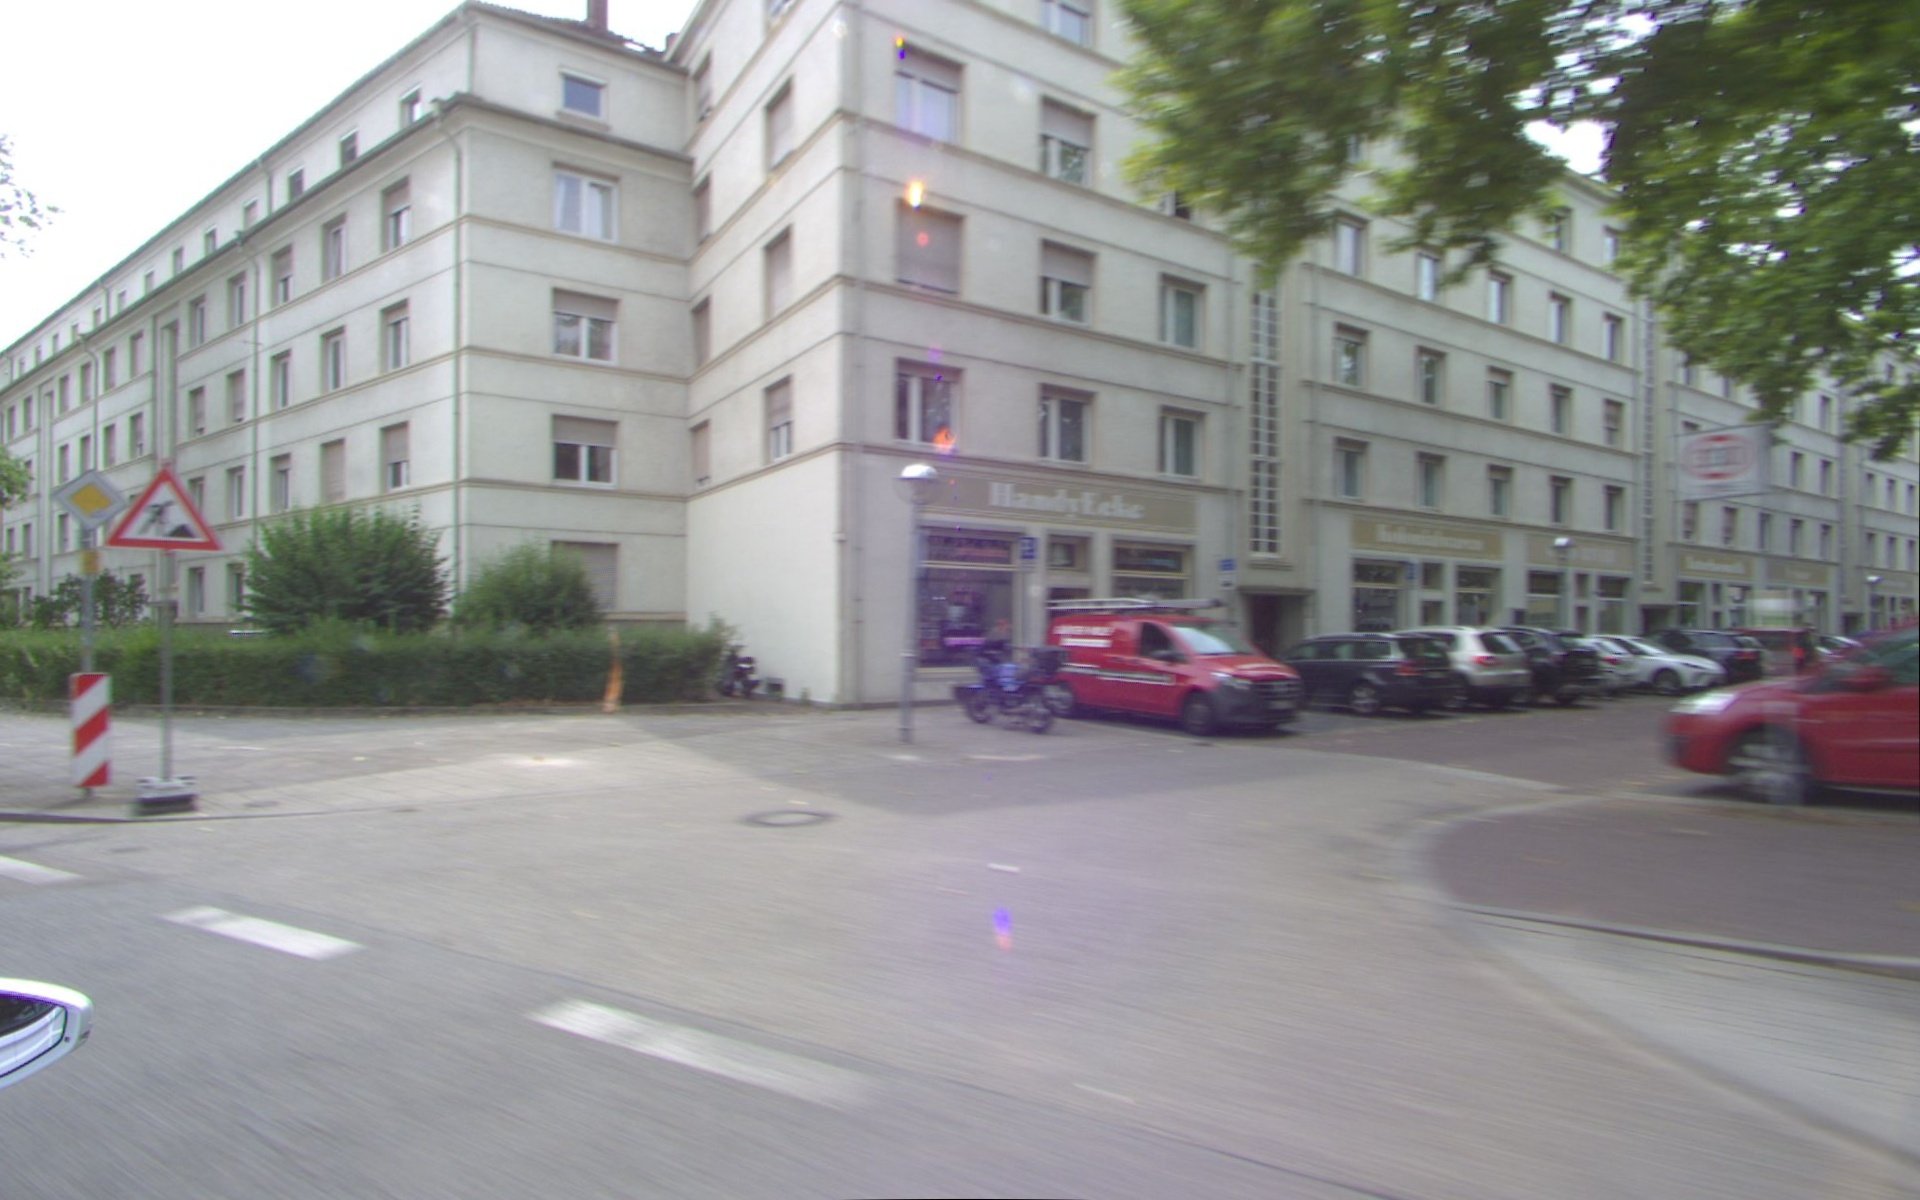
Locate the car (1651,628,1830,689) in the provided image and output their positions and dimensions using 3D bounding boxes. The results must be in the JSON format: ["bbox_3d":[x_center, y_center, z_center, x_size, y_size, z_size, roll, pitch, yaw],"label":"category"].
[{"bbox_3d":[24.072,1.763,31.003,1.975,1.750,3.973,1,-2,-35],"label":"car"}]

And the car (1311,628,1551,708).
[{"bbox_3d":[9.760,1.356,21.039,1.974,1.506,4.168,1,-2,-34],"label":"car"}]

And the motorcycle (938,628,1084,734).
[{"bbox_3d":[0.751,1.189,15.426,2.281,1.481,0.827,0,-1,44],"label":"motorcycle"}]

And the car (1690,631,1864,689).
[{"bbox_3d":[26.205,1.882,32.239,1.975,1.750,3.973,1,-2,-35],"label":"car"}]

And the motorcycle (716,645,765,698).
[{"bbox_3d":[-4.583,1.464,20.855,0.428,1.029,1.438,1,-1,-36],"label":"motorcycle"}]

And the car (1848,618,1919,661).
[{"bbox_3d":[39.402,1.613,41.202,1.975,1.750,3.973,1,-2,-35],"label":"car"}]

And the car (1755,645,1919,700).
[{"bbox_3d":[30.574,2.471,35.012,1.975,1.750,3.973,1,-2,-35],"label":"car"}]

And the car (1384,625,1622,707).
[{"bbox_3d":[11.808,1.376,22.027,1.974,1.611,4.168,1,-2,-34],"label":"car"}]

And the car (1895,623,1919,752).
[{"bbox_3d":[12.843,0.964,10.497,1.728,1.483,4.160,0,-2,-33],"label":"car"}]

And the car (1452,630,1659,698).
[{"bbox_3d":[15.262,1.589,25.870,1.975,1.611,4.166,1,-2,-36],"label":"car"}]

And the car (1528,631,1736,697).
[{"bbox_3d":[17.743,1.641,26.615,1.975,1.611,4.166,1,-2,-36],"label":"car"}]

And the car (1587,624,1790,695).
[{"bbox_3d":[20.090,1.589,27.784,1.975,1.820,4.166,1,-2,-36],"label":"car"}]

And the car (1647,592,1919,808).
[{"bbox_3d":[8.580,0.807,8.378,1.916,1.727,4.299,1,-2,-37],"label":"car"}]

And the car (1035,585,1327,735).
[{"bbox_3d":[3.551,0.954,17.020,1.974,2.177,4.813,1,-2,-34],"label":"car"}]

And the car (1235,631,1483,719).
[{"bbox_3d":[7.706,1.388,19.719,1.974,1.523,4.168,1,-2,-34],"label":"car"}]
